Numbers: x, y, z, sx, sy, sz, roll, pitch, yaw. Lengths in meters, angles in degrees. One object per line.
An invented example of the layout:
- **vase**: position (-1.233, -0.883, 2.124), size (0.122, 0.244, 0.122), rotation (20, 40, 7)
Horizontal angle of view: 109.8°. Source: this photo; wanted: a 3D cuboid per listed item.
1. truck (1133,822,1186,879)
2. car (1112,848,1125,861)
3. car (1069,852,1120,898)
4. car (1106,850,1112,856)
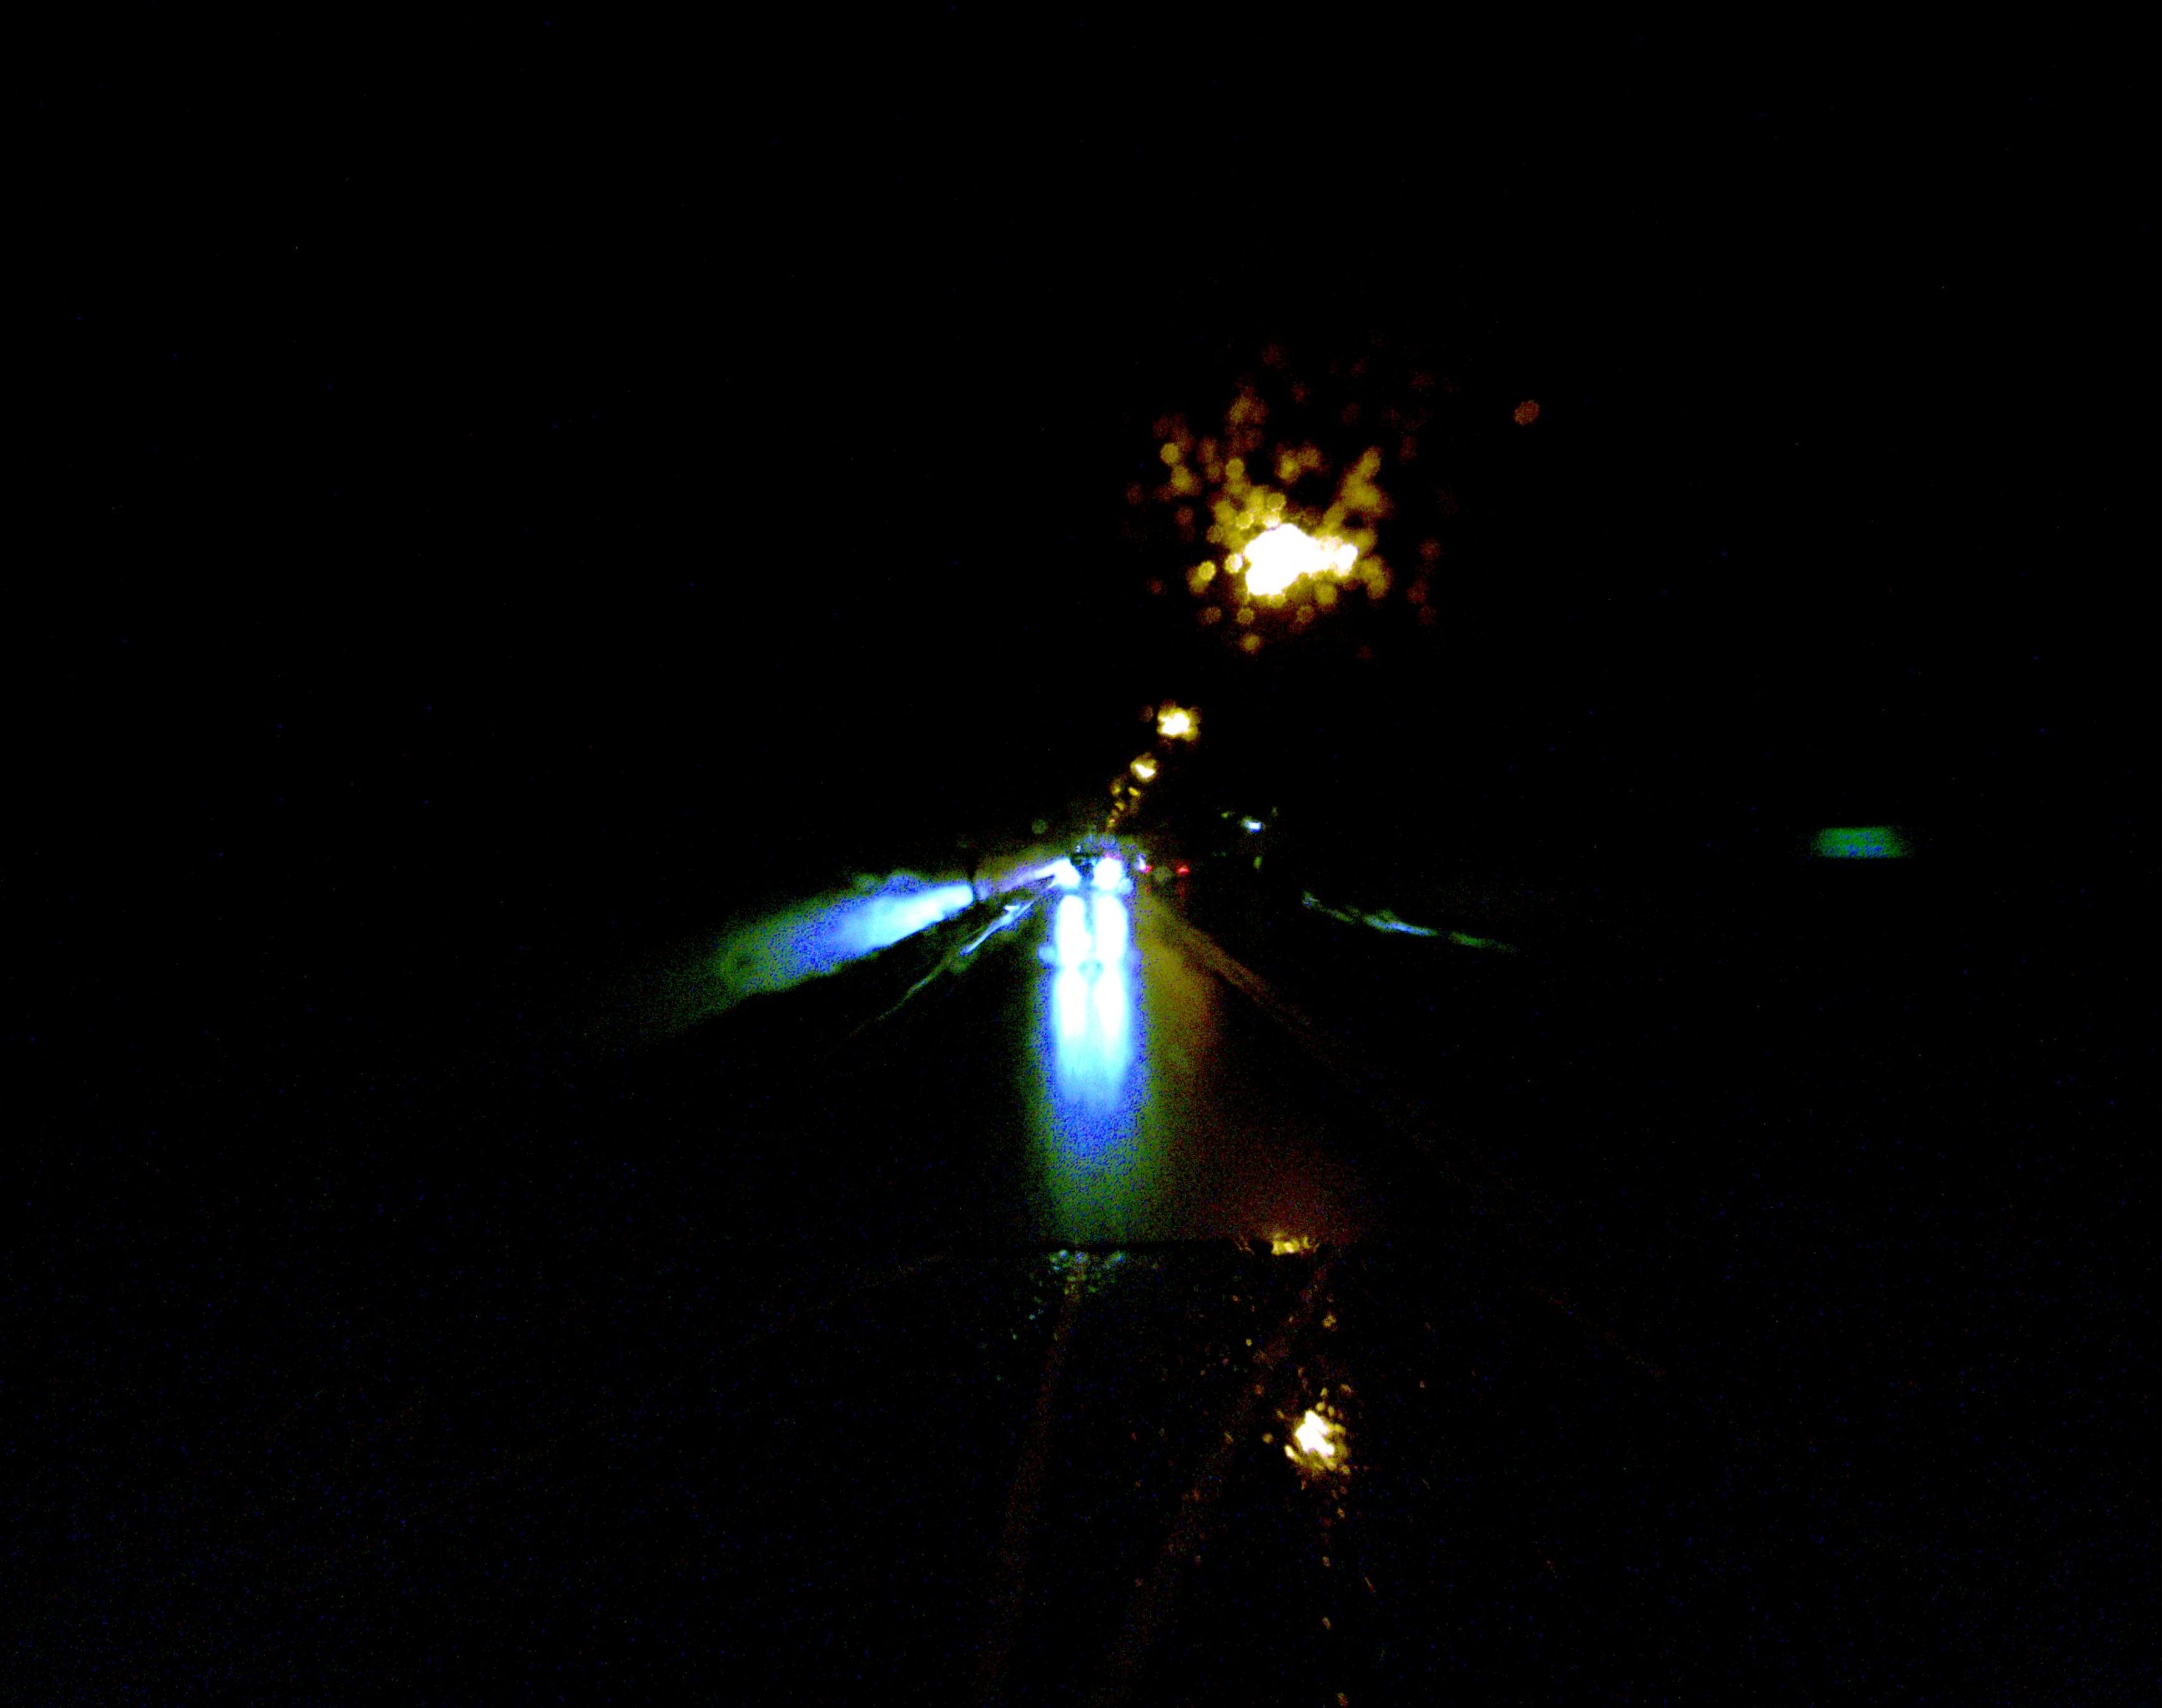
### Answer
- **truck**: position (4.453, -0.175, 44.408), size (2.285, 2.999, 6.593), rotation (-2, 0, 0)
- **car**: position (5.620, 0.048, 114.685), size (1.733, 1.781, 3.932), rotation (-2, 1, 1)
- **car**: position (0.526, 0.765, 29.723), size (1.829, 1.650, 3.929), rotation (-1, 1, 1)
- **car**: position (8.164, -0.263, 222.318), size (1.573, 1.622, 3.729), rotation (-1, 1, 1)
